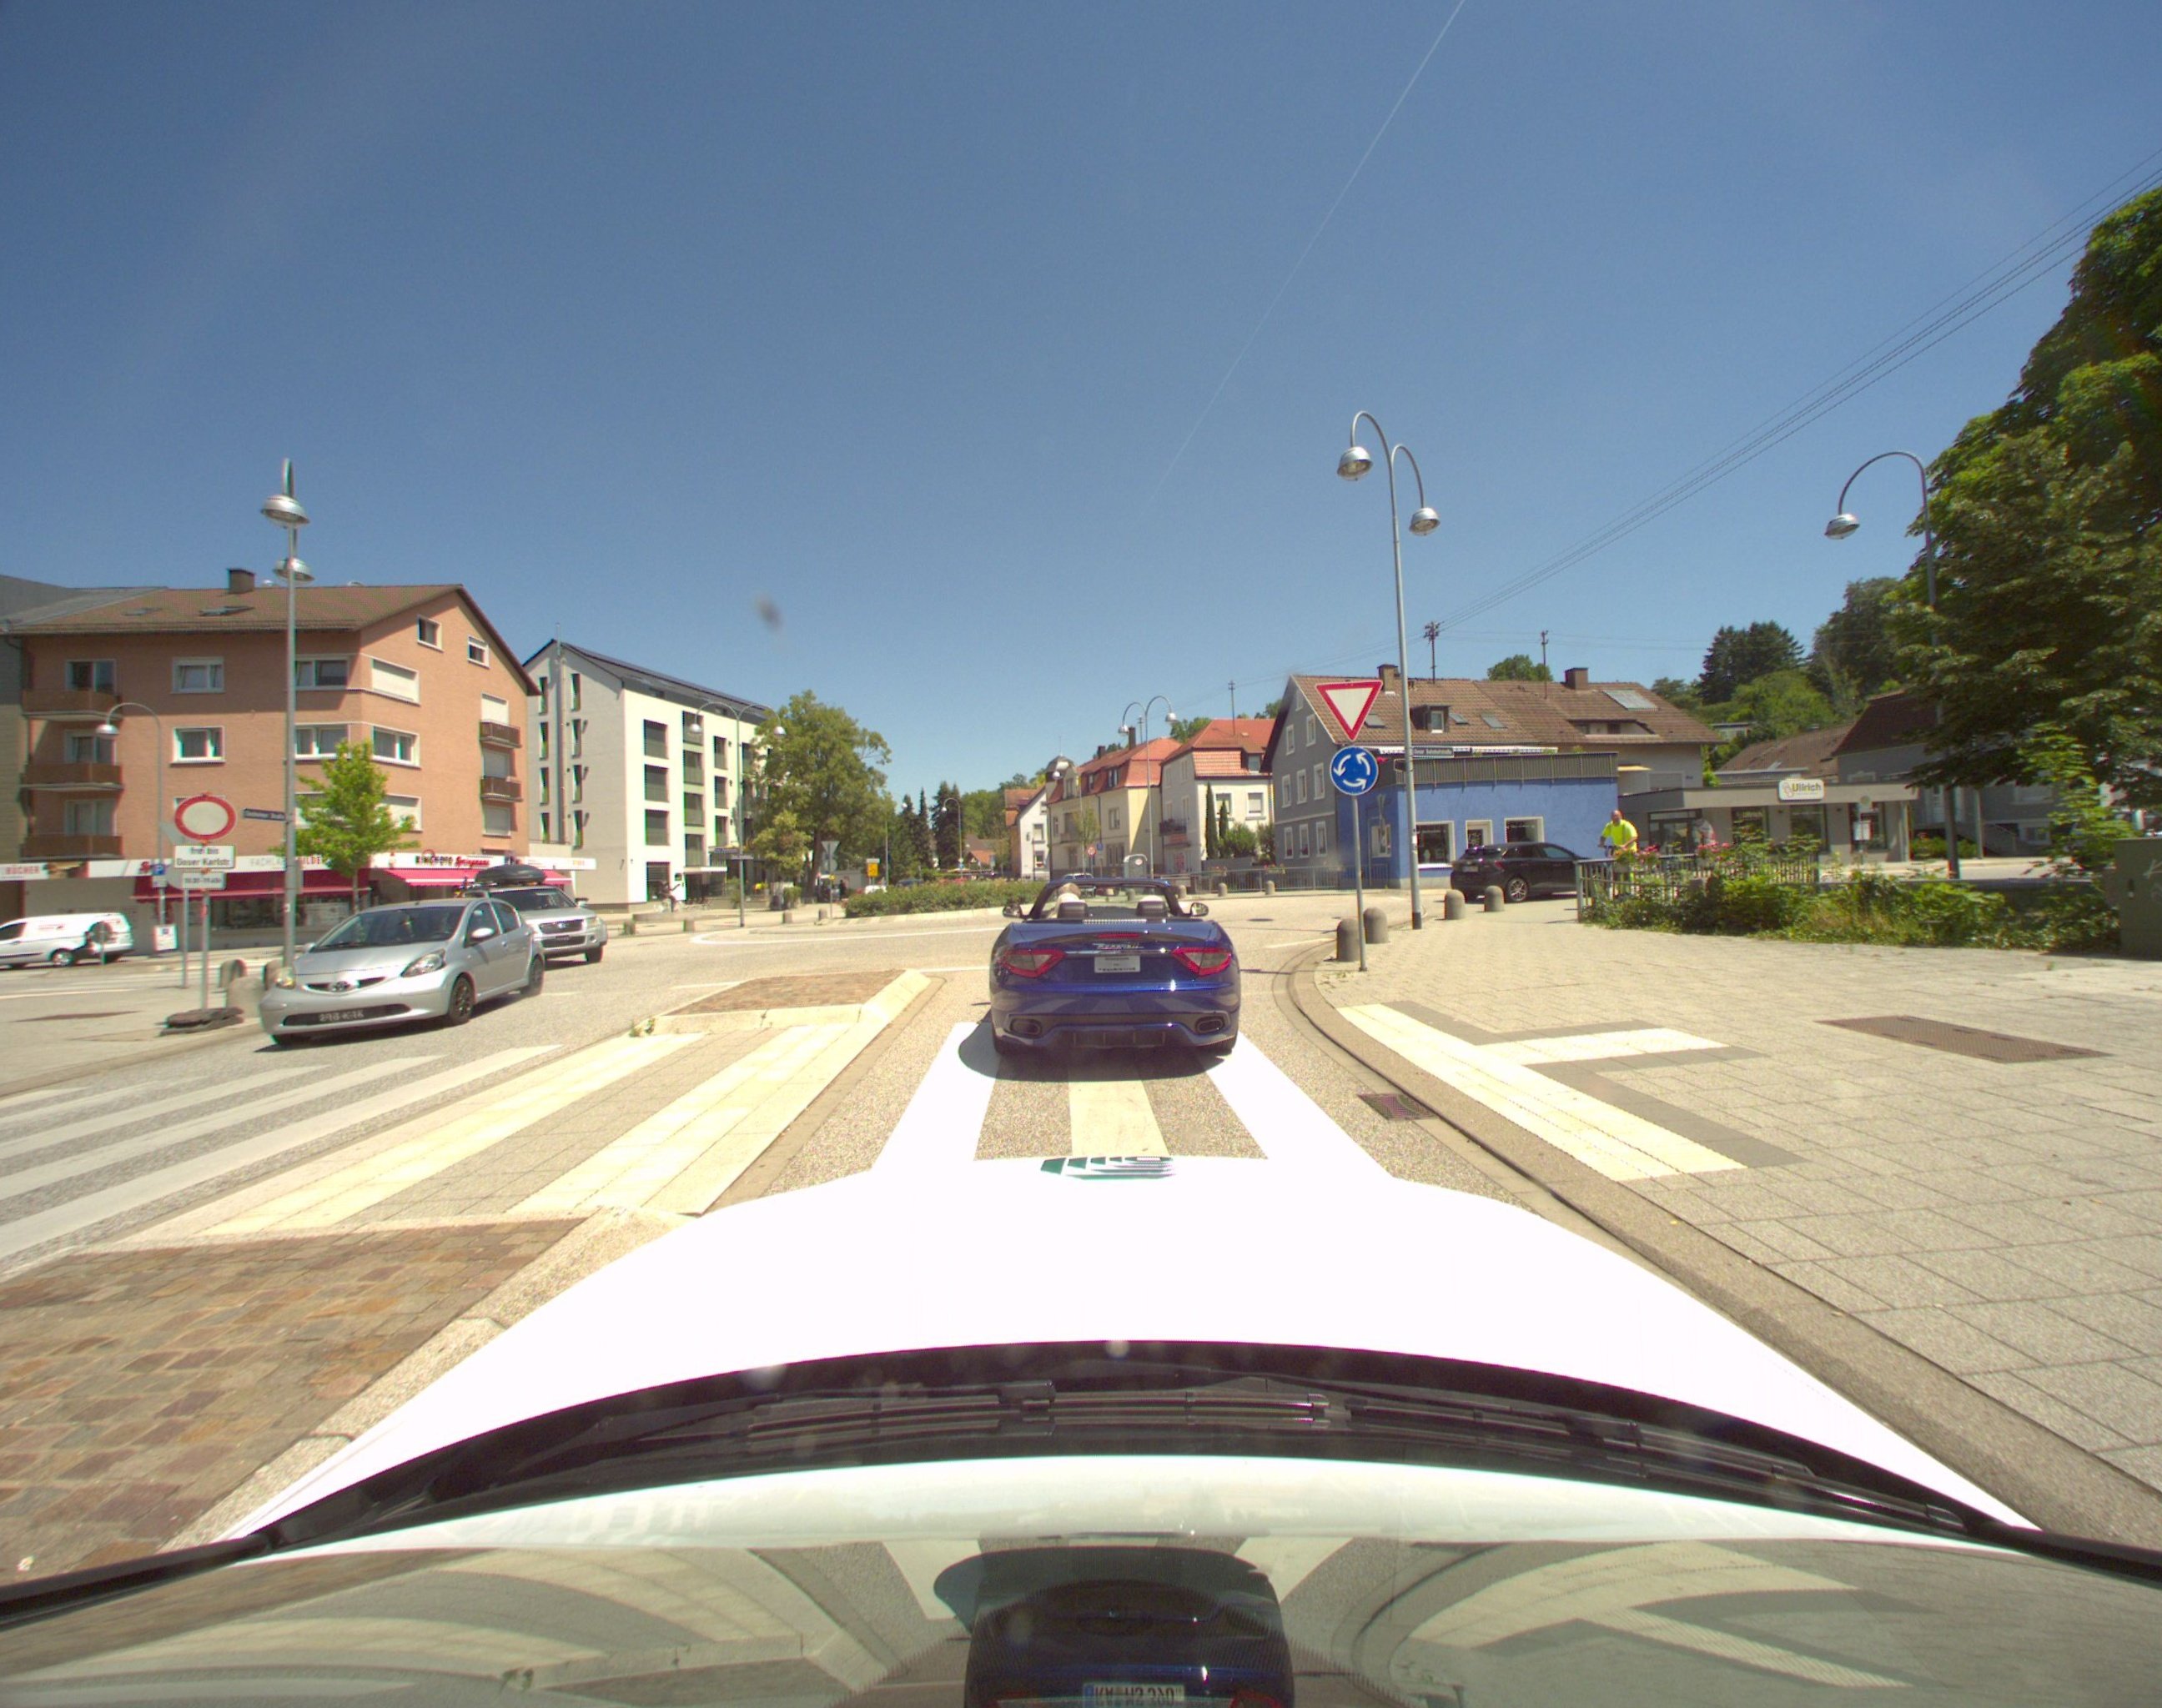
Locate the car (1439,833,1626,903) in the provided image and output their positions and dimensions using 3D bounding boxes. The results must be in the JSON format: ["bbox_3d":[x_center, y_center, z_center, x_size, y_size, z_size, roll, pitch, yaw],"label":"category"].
[{"bbox_3d":[11.840,0.337,21.407,4.259,1.547,1.801,-3,0,-17],"label":"car"}]

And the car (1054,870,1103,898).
[{"bbox_3d":[-0.220,1.950,52.000,1.924,1.613,4.121,-2,-2,-18],"label":"car"}]

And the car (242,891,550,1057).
[{"bbox_3d":[-7.999,1.270,9.935,1.579,1.450,3.449,-4,0,-18],"label":"car"}]

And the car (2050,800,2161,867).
[{"bbox_3d":[32.092,-0.663,24.294,4.204,1.875,1.763,-3,-1,-1],"label":"car"}]

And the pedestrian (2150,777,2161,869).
[{"bbox_3d":[19.634,-0.570,14.362,0.748,1.632,0.713,-2,-1,-23],"label":"pedestrian"}]

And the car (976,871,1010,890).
[{"bbox_3d":[-8.567,2.602,79.182,1.861,1.588,3.962,-3,-1,-29],"label":"car"}]

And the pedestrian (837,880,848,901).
[{"bbox_3d":[-18.526,2.864,63.360,0.531,1.576,0.564,-3,-1,12],"label":"pedestrian"}]

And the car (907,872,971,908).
[{"bbox_3d":[-7.198,1.803,41.631,1.786,1.642,4.072,-3,-2,11],"label":"car"}]

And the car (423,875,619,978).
[{"bbox_3d":[-11.323,1.462,16.383,4.147,1.688,1.850,-5,0,36],"label":"car"}]

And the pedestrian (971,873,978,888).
[{"bbox_3d":[-11.735,2.896,89.798,0.614,1.585,0.582,-2,-1,-25],"label":"pedestrian"}]

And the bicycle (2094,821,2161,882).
[{"bbox_3d":[19.616,-0.067,14.481,0.748,1.083,1.835,-2,-1,-23],"label":"bicycle"}]

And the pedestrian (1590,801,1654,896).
[{"bbox_3d":[10.665,-0.106,16.059,0.740,1.799,0.674,-4,-1,-27],"label":"pedestrian"}]

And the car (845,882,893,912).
[{"bbox_3d":[-11.701,2.356,45.222,1.991,1.509,3.991,-2,-1,-6],"label":"car"}]

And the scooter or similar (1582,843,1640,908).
[{"bbox_3d":[10.525,0.419,16.210,0.525,1.222,1.244,-3,-1,13],"label":"scooter or similar"}]

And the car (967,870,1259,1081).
[{"bbox_3d":[0.321,0.851,7.541,1.902,1.360,4.288,-1,-1,3],"label":"car"}]

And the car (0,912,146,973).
[{"bbox_3d":[-34.576,2.974,27.216,3.994,1.750,1.793,-3,-1,-15],"label":"car"}]
